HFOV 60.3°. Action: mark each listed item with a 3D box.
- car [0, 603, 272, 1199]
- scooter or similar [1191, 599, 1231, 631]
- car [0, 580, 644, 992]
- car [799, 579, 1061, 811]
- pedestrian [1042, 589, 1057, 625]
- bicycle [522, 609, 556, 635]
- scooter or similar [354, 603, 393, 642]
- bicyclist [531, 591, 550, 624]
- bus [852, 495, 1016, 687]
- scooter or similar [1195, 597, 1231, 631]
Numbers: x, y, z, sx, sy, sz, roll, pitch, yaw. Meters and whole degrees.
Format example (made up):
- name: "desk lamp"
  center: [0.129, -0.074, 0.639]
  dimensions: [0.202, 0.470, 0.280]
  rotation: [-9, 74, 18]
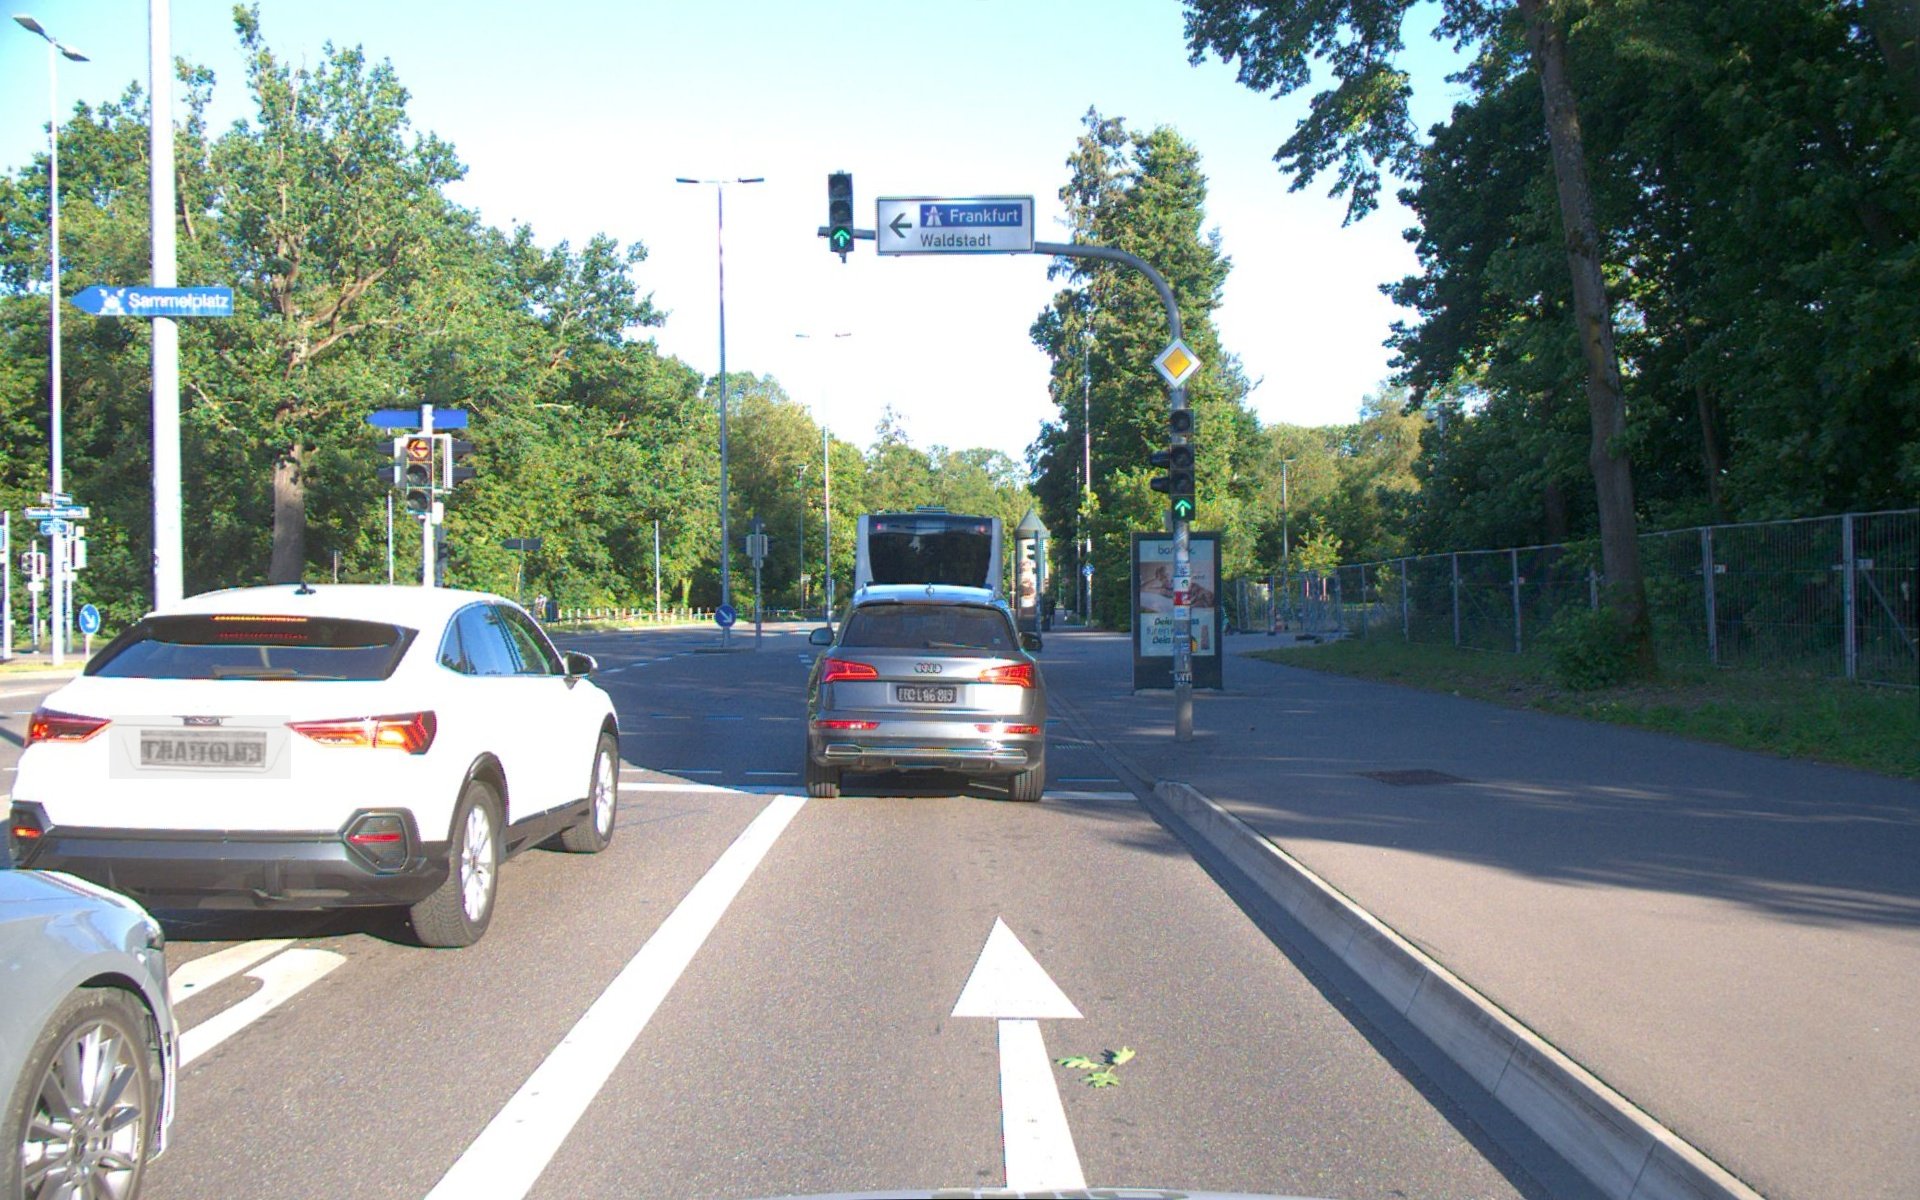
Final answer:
- name: "car"
  center: [-2.574, 0.736, 2.123]
  dimensions: [1.623, 1.452, 4.317]
  rotation: [0, 0, -1]
- name: "scooter or similar"
  center: [9.460, 0.570, 62.309]
  dimensions: [1.411, 1.187, 0.393]
  rotation: [-2, -2, 29]
- name: "car"
  center: [-2.877, 0.695, 8.347]
  dimensions: [1.796, 1.539, 4.299]
  rotation: [0, 0, -1]
- name: "car"
  center: [-0.248, 0.678, 14.162]
  dimensions: [1.854, 1.633, 4.543]
  rotation: [1, 0, -1]
- name: "pedestrian"
  center: [4.334, 0.351, 80.301]
  dimensions: [0.612, 1.718, 0.883]
  rotation: [1, 0, 9]
- name: "bicycle"
  center: [-20.573, 1.046, 80.829]
  dimensions: [0.665, 1.174, 1.985]
  rotation: [1, 2, 17]
- name: "scooter or similar"
  center: [-17.801, 0.680, 50.204]
  dimensions: [1.044, 1.166, 0.394]
  rotation: [0, 1, 7]
- name: "bicyclist"
  center: [-20.532, 0.340, 80.945]
  dimensions: [0.550, 1.578, 0.801]
  rotation: [1, 2, 17]
- name: "bus"
  center: [-0.517, -0.123, 33.112]
  dimensions: [2.635, 3.096, 12.038]
  rotation: [1, 0, -1]
- name: "scooter or similar"
  center: [8.983, 0.494, 58.765]
  dimensions: [1.239, 1.167, 0.394]
  rotation: [-2, -2, 7]
